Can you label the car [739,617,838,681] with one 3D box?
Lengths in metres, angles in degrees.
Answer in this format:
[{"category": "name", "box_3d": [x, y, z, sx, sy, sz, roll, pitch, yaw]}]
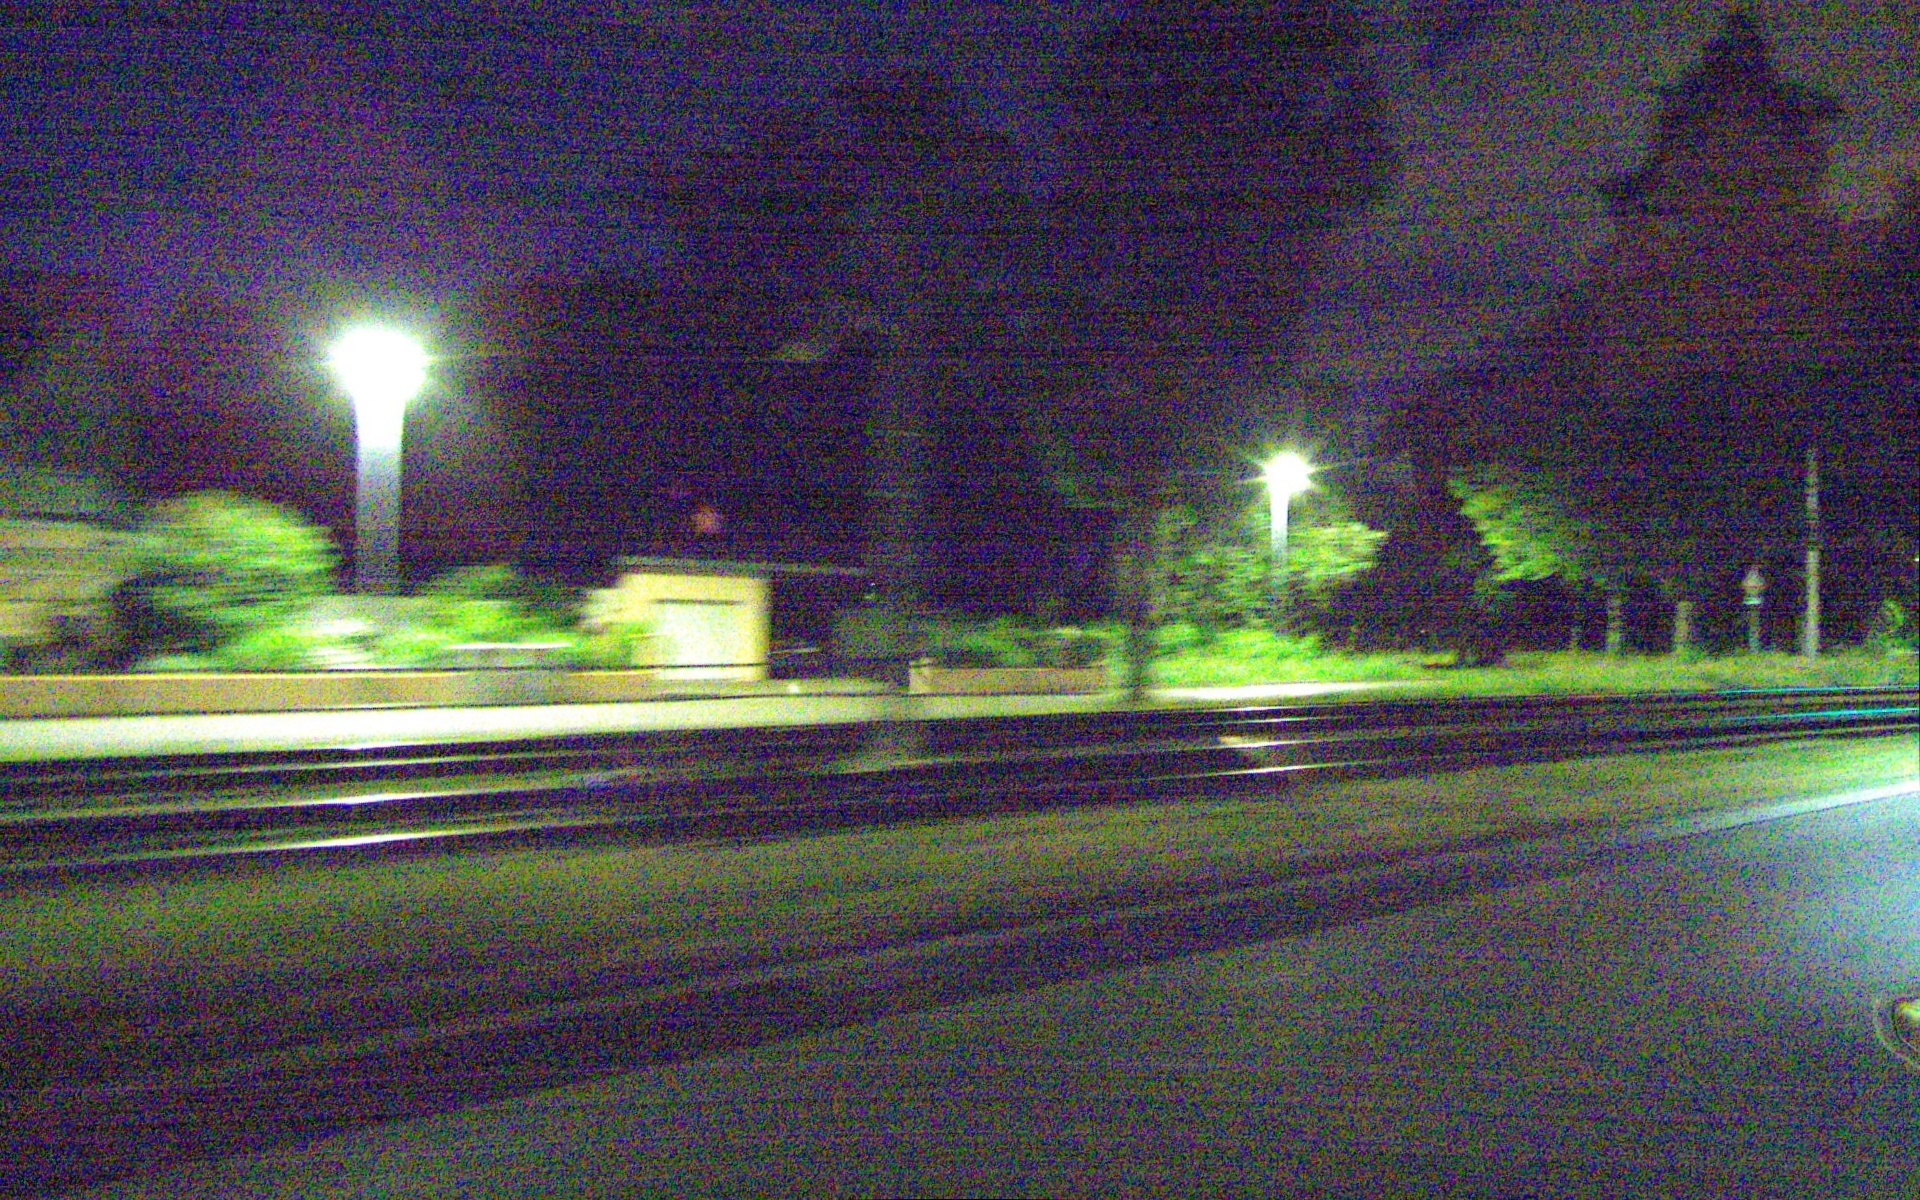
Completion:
[{"category": "car", "box_3d": [-5.109, 1.391, 29.496, 1.735, 1.630, 3.972, 3, -1, -27]}]
